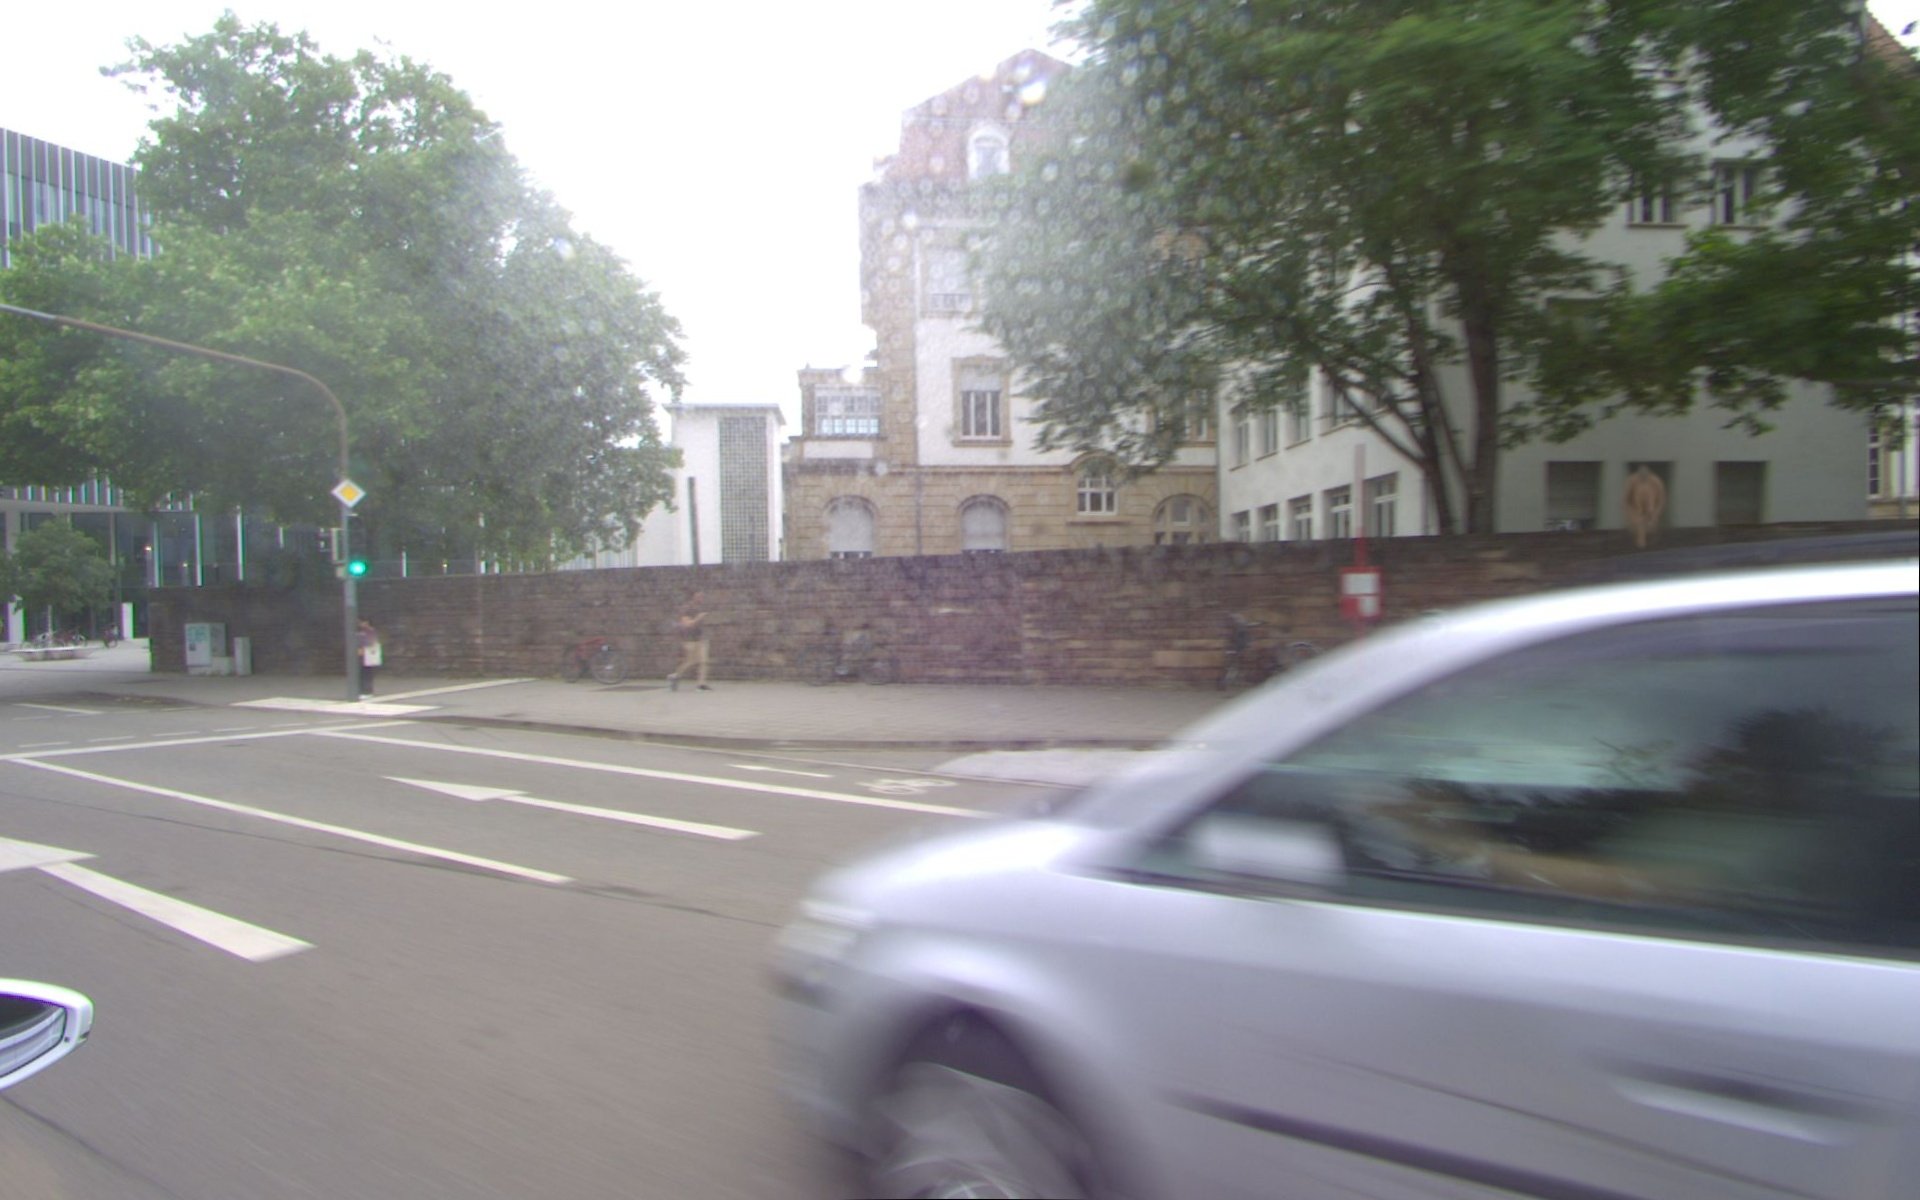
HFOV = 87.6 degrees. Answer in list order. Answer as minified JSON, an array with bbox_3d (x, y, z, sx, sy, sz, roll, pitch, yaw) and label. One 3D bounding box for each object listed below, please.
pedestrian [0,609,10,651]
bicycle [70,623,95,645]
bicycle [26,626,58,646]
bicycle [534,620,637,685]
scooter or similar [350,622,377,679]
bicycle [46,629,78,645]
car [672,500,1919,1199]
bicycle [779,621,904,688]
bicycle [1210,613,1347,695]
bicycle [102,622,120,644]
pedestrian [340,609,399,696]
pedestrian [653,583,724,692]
[{"bbox_3d":[-41.292,1.279,42.741,0.756,1.789,0.845,0,2,32],"label":"pedestrian"},{"bbox_3d":[-45.768,1.777,52.234,0.802,1.070,1.933,-2,2,-37],"label":"bicycle"},{"bbox_3d":[-47.847,1.859,52.201,0.686,0.959,1.975,-2,1,-26],"label":"bicycle"},{"bbox_3d":[-7.424,1.020,19.845,1.923,1.190,0.802,0,3,28],"label":"bicycle"},{"bbox_3d":[-13.763,1.142,23.094,0.427,1.195,1.693,-3,2,-33],"label":"scooter or similar"},{"bbox_3d":[-46.935,1.916,52.354,0.510,0.726,1.525,-1,1,-10],"label":"bicycle"},{"bbox_3d":[1.430,0.702,2.173,4.047,1.624,1.726,-1,-1,33],"label":"car"},{"bbox_3d":[-2.077,0.949,17.645,1.934,1.088,0.941,-1,2,18],"label":"bicycle"},{"bbox_3d":[4.739,0.792,14.960,1.889,1.143,0.849,-1,2,18],"label":"bicycle"},{"bbox_3d":[-44.515,1.738,52.509,0.616,1.070,1.933,-2,2,-37],"label":"bicycle"},{"bbox_3d":[-11.343,0.994,19.231,0.627,1.584,0.658,0,5,32],"label":"pedestrian"},{"bbox_3d":[-4.751,0.639,17.530,1.018,1.846,0.629,0,2,32],"label":"pedestrian"}]
